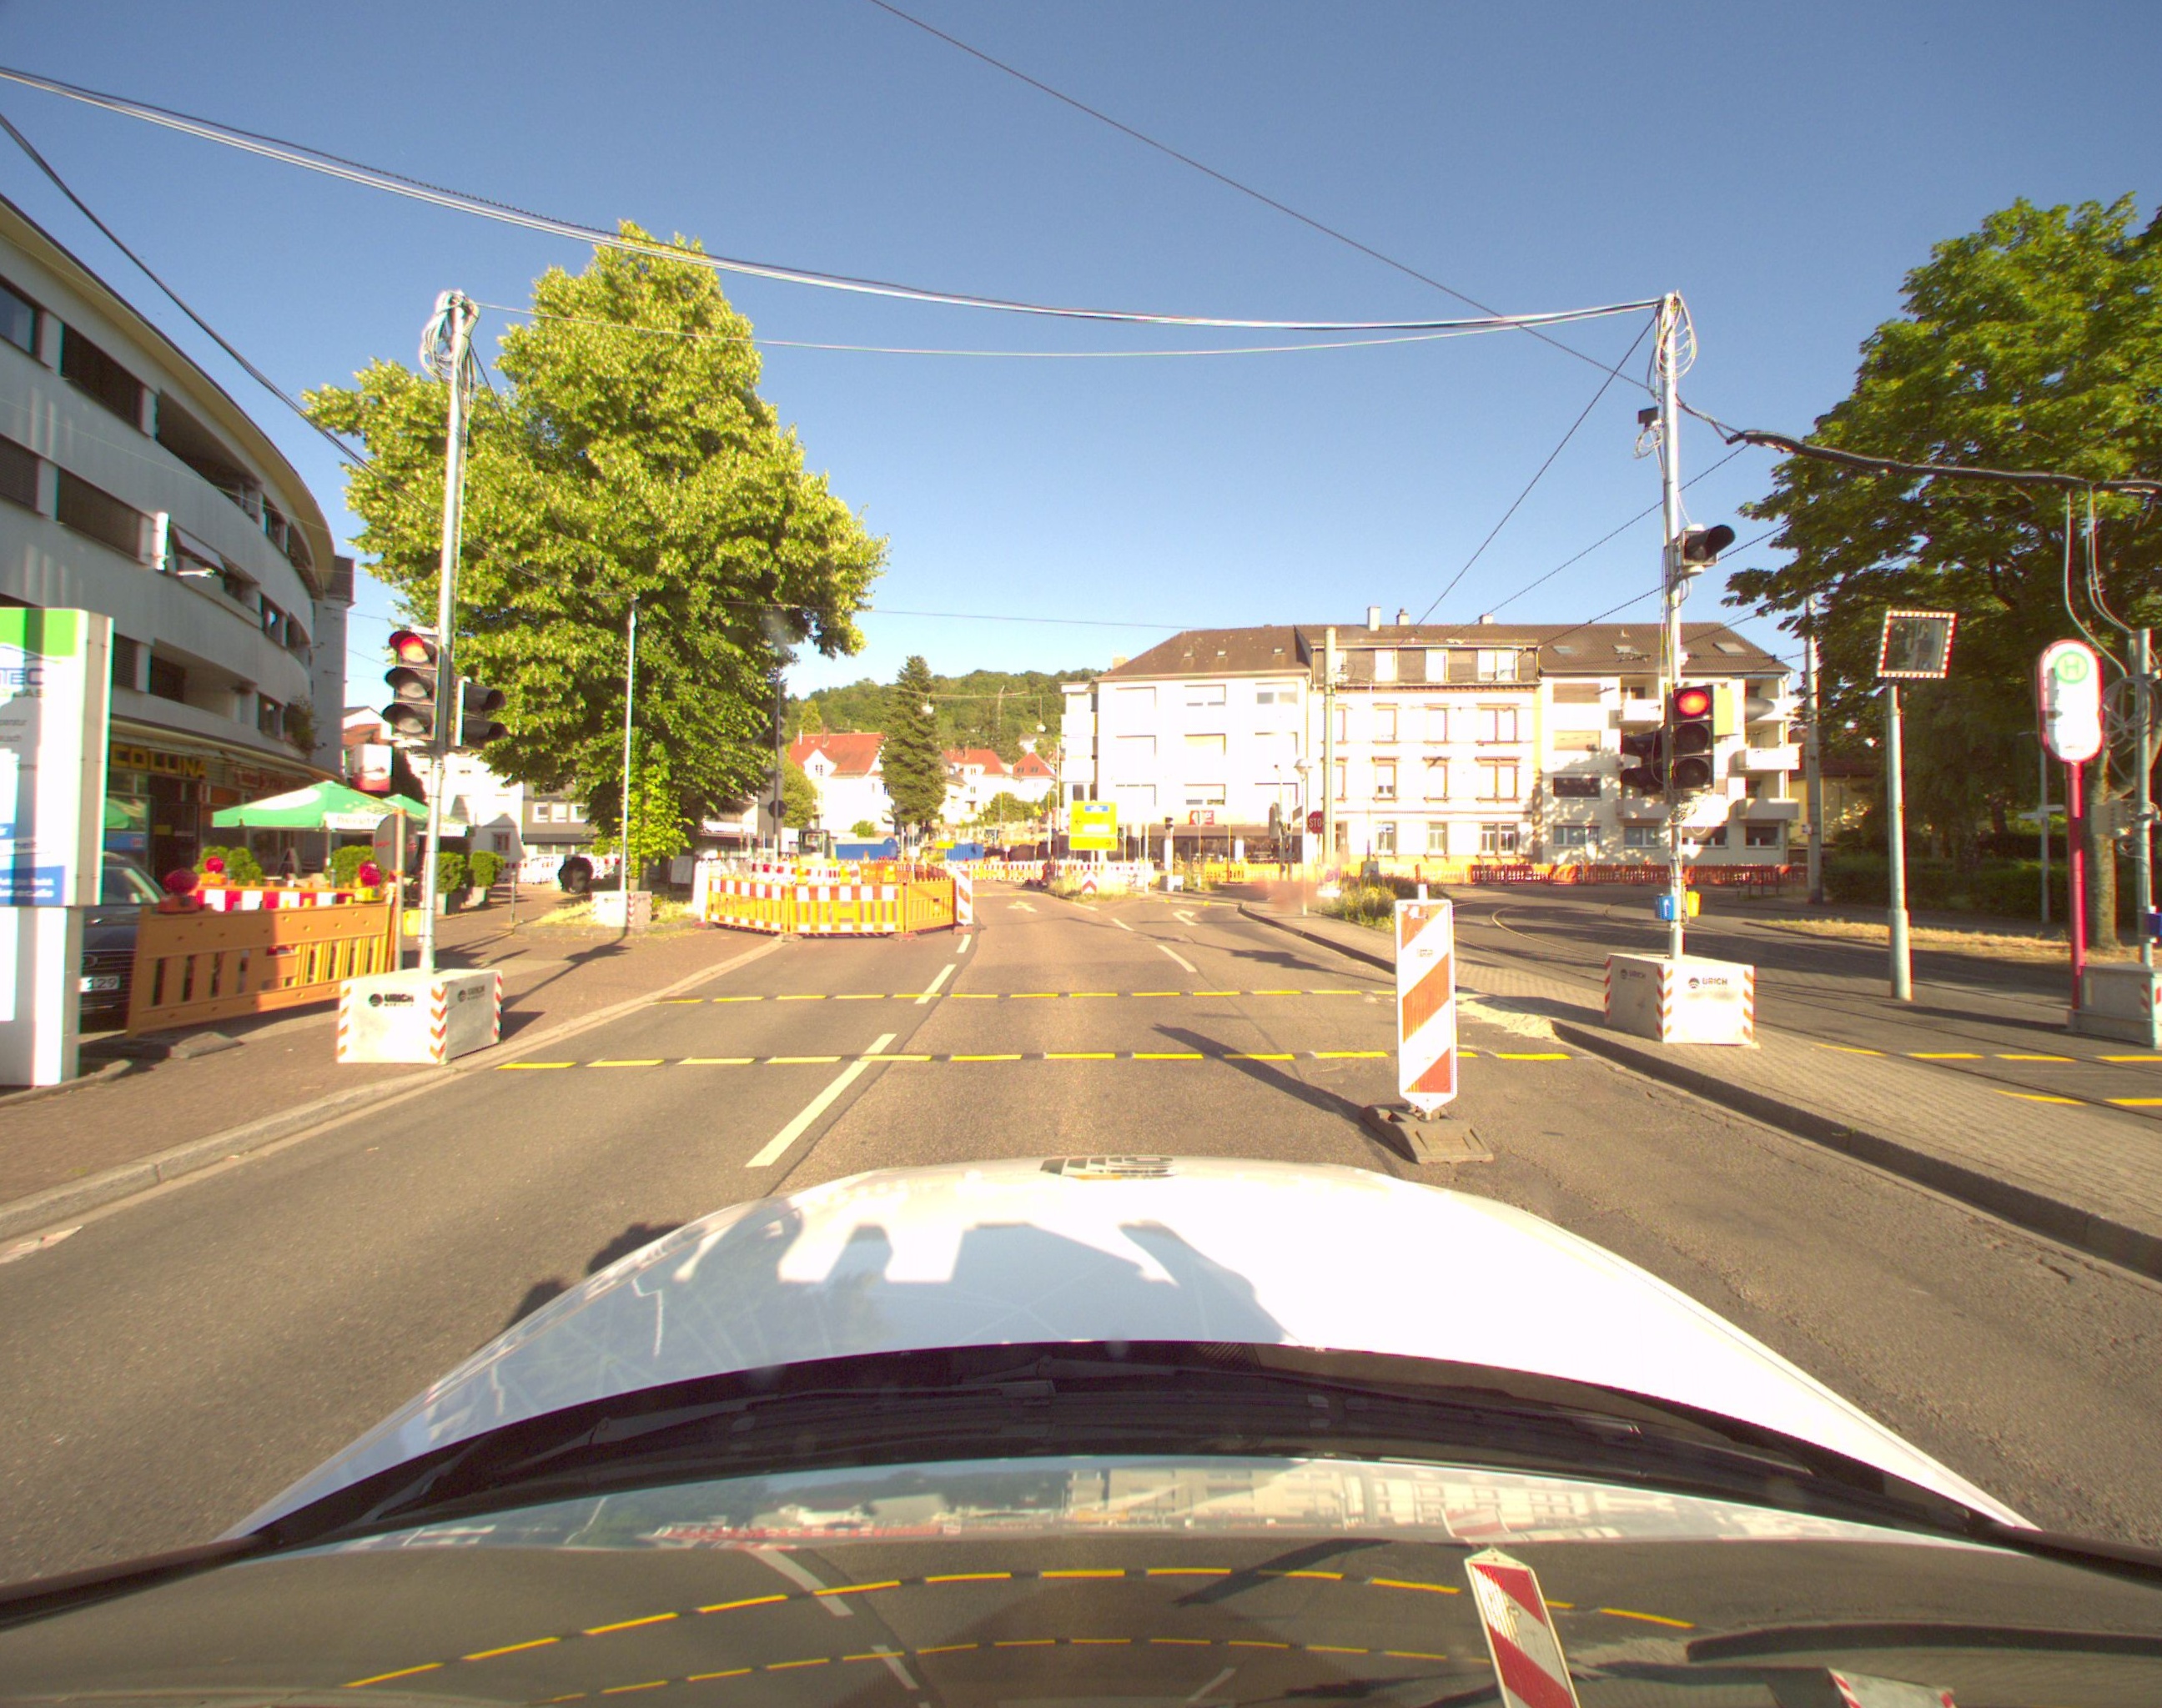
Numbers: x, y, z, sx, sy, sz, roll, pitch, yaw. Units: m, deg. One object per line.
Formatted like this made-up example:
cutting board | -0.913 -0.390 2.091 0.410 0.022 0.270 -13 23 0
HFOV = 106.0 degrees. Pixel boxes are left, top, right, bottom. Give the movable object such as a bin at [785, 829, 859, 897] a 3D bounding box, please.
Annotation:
movable object such as a bin | -9.418 0.301 29.875 1.643 2.324 3.916 0 0 -3

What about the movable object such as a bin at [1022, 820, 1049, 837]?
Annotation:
movable object such as a bin | -6.420 -3.589 115.295 2.549 2.122 5.801 -1 -1 11

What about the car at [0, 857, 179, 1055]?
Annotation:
car | -9.318 0.779 7.311 3.835 1.438 1.606 -1 0 42

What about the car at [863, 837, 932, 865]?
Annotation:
car | -14.896 -0.225 66.692 2.562 2.121 6.181 -1 -1 20

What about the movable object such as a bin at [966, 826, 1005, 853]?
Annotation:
movable object such as a bin | -9.241 -1.345 79.394 1.932 2.494 4.574 -1 -1 20
